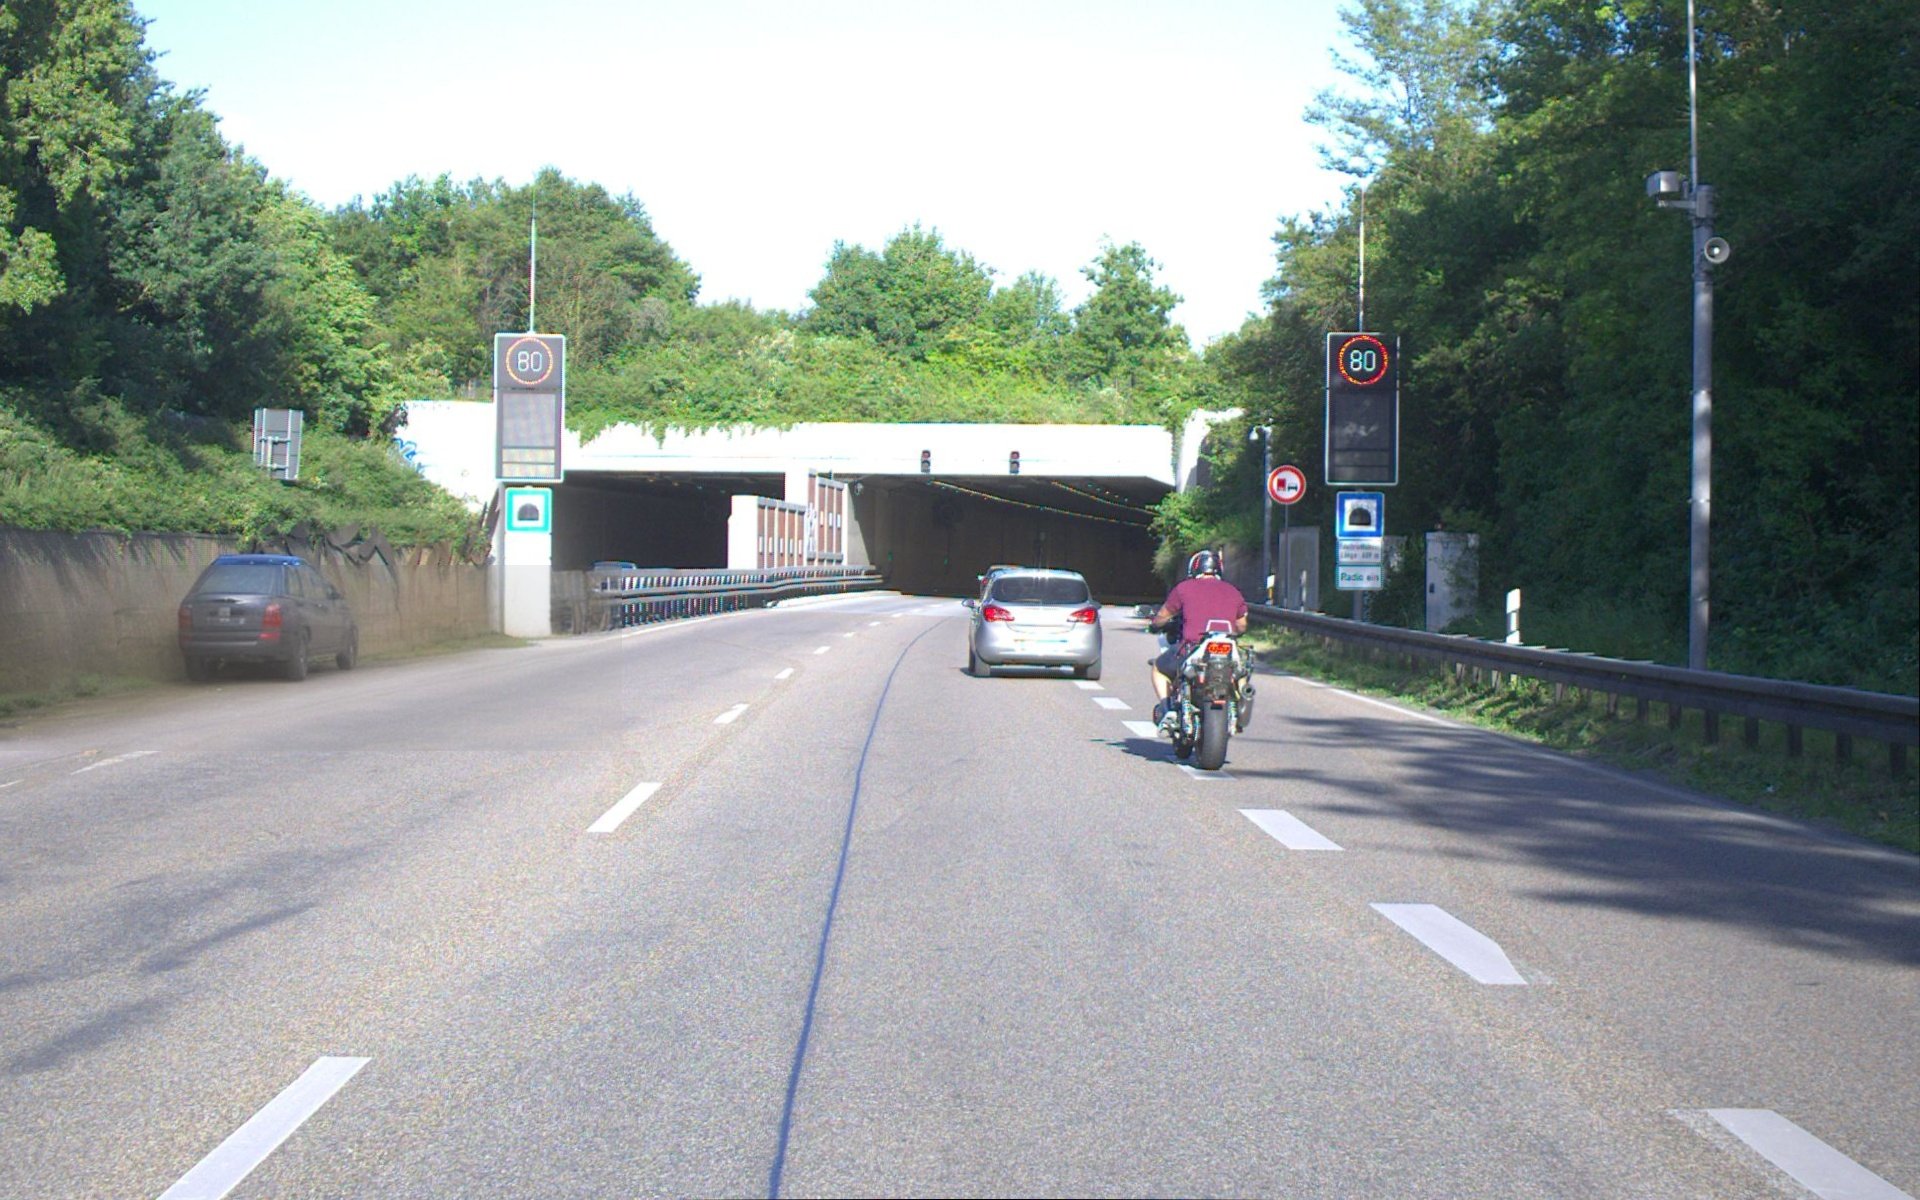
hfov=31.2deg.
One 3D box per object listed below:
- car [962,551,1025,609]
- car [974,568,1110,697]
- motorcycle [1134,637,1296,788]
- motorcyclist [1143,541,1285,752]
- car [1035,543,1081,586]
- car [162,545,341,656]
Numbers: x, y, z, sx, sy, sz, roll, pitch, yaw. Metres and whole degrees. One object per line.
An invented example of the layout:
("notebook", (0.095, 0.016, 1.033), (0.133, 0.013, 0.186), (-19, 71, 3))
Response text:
("car", (1.147, -0.719, 119.386), (1.993, 1.919, 4.000), (1, 1, -2))
("car", (1.082, 0.408, 46.976), (1.667, 1.546, 4.000), (3, 1, 0))
("motorcycle", (1.873, 0.812, 25.672), (0.858, 0.988, 2.729), (3, 0, -2))
("motorcyclist", (1.890, 0.333, 25.734), (0.883, 1.496, 1.063), (3, 1, -2))
("car", (4.579, -1.659, 160.619), (1.994, 1.919, 4.000), (2, 1, 3))
("car", (-11.850, -0.025, 57.845), (1.993, 1.652, 4.939), (3, 1, -1))
